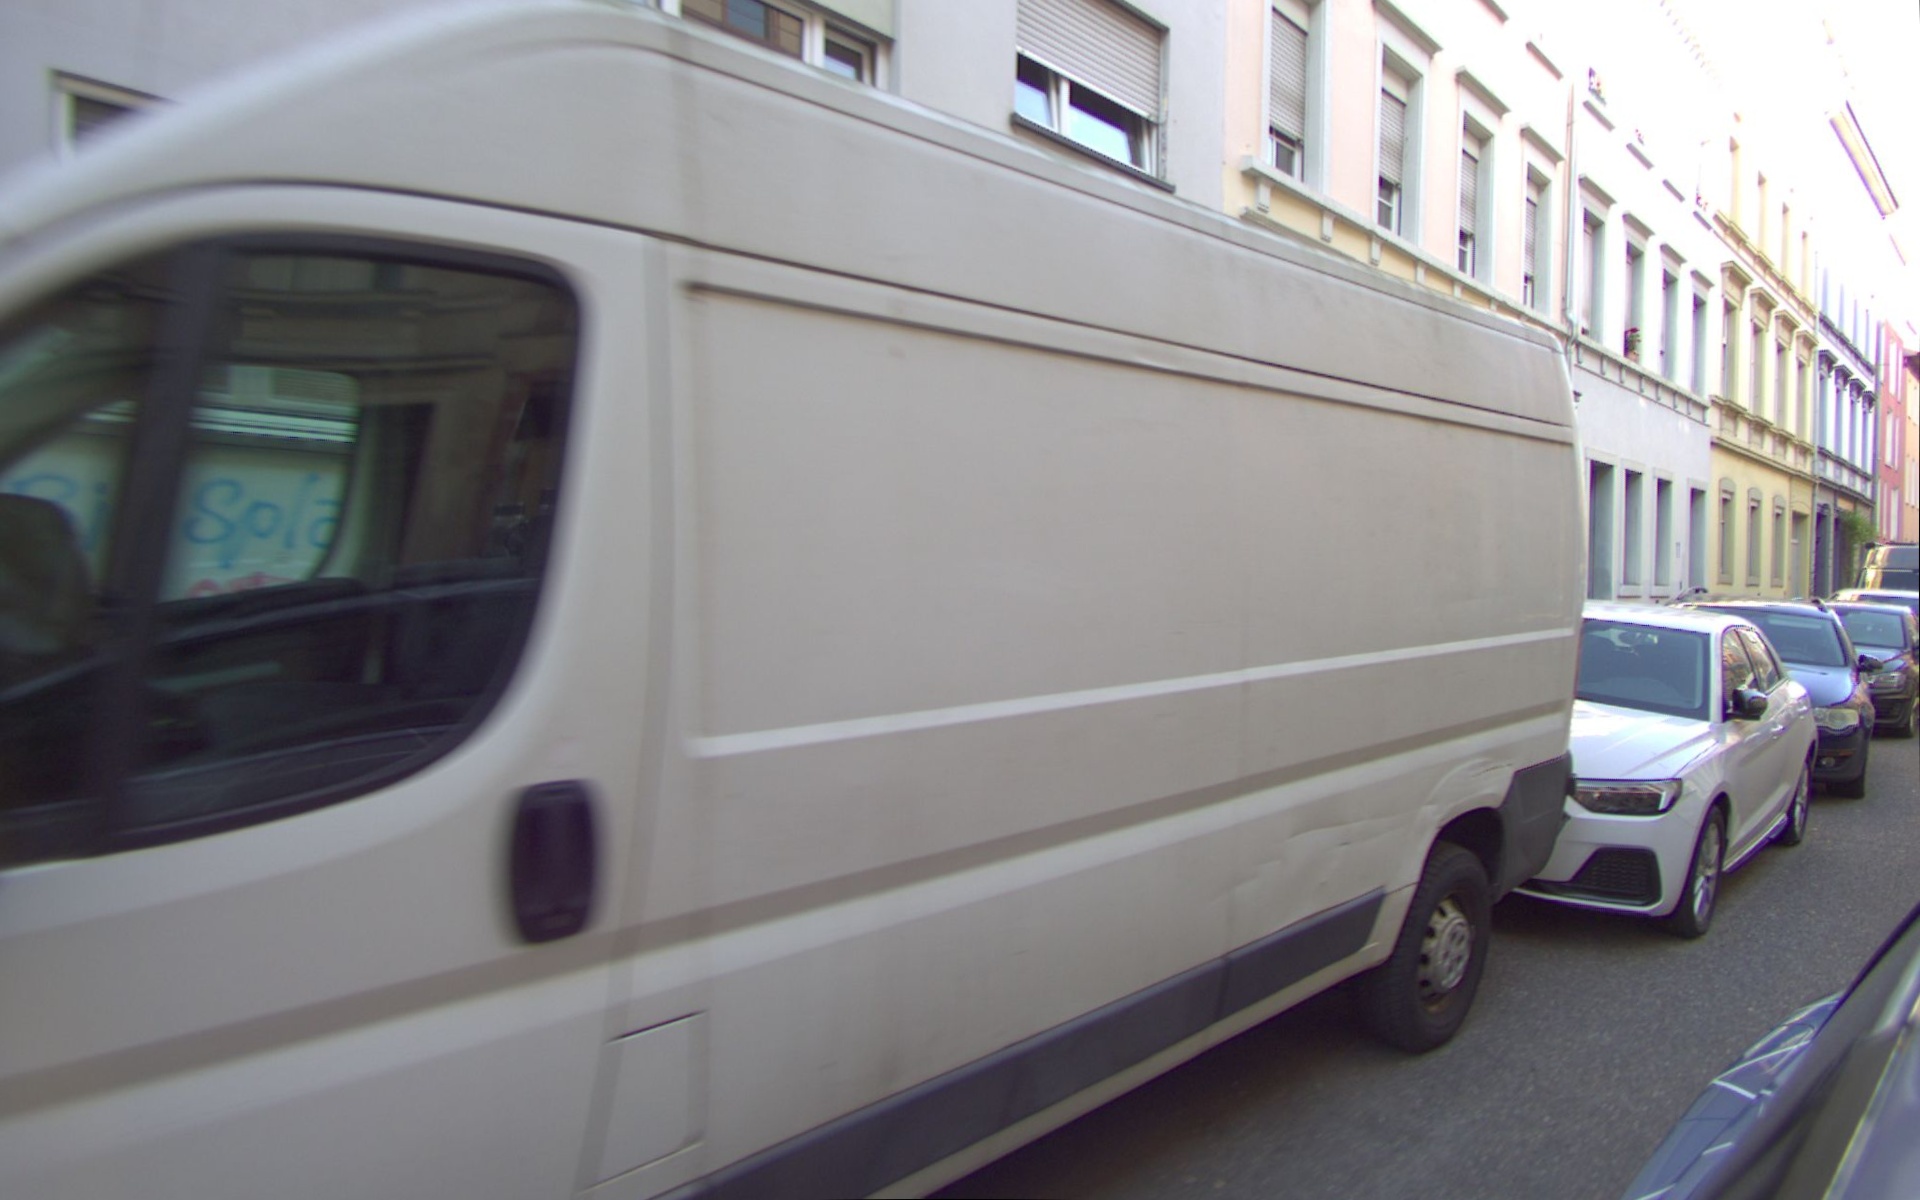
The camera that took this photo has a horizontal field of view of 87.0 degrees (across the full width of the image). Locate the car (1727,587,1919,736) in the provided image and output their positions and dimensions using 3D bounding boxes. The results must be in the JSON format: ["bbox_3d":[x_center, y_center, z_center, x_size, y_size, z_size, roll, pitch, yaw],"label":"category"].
[{"bbox_3d":[11.003,0.624,12.392,4.169,1.504,1.749,0,2,-42],"label":"car"}]

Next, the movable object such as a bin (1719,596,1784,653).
[{"bbox_3d":[15.925,0.473,20.371,0.696,1.055,0.864,0,4,-43],"label":"movable object such as a bin"}]

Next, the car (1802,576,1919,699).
[{"bbox_3d":[14.489,0.509,15.552,4.299,1.627,1.697,0,3,-42],"label":"car"}]

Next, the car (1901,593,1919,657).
[{"bbox_3d":[24.030,0.586,24.262,4.099,1.462,1.750,0,1,-41],"label":"car"}]

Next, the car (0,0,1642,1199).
[{"bbox_3d":[-0.280,0.087,2.912,5.930,2.582,2.209,0,2,-41],"label":"car"}]

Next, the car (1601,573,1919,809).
[{"bbox_3d":[7.297,0.603,9.253,1.809,1.496,4.542,6,4,39],"label":"car"}]

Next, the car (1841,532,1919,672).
[{"bbox_3d":[19.213,0.030,19.765,6.200,2.455,2.179,0,3,-42],"label":"car"}]

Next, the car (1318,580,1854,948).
[{"bbox_3d":[3.877,0.644,6.001,3.767,1.447,1.728,0,2,-43],"label":"car"}]
